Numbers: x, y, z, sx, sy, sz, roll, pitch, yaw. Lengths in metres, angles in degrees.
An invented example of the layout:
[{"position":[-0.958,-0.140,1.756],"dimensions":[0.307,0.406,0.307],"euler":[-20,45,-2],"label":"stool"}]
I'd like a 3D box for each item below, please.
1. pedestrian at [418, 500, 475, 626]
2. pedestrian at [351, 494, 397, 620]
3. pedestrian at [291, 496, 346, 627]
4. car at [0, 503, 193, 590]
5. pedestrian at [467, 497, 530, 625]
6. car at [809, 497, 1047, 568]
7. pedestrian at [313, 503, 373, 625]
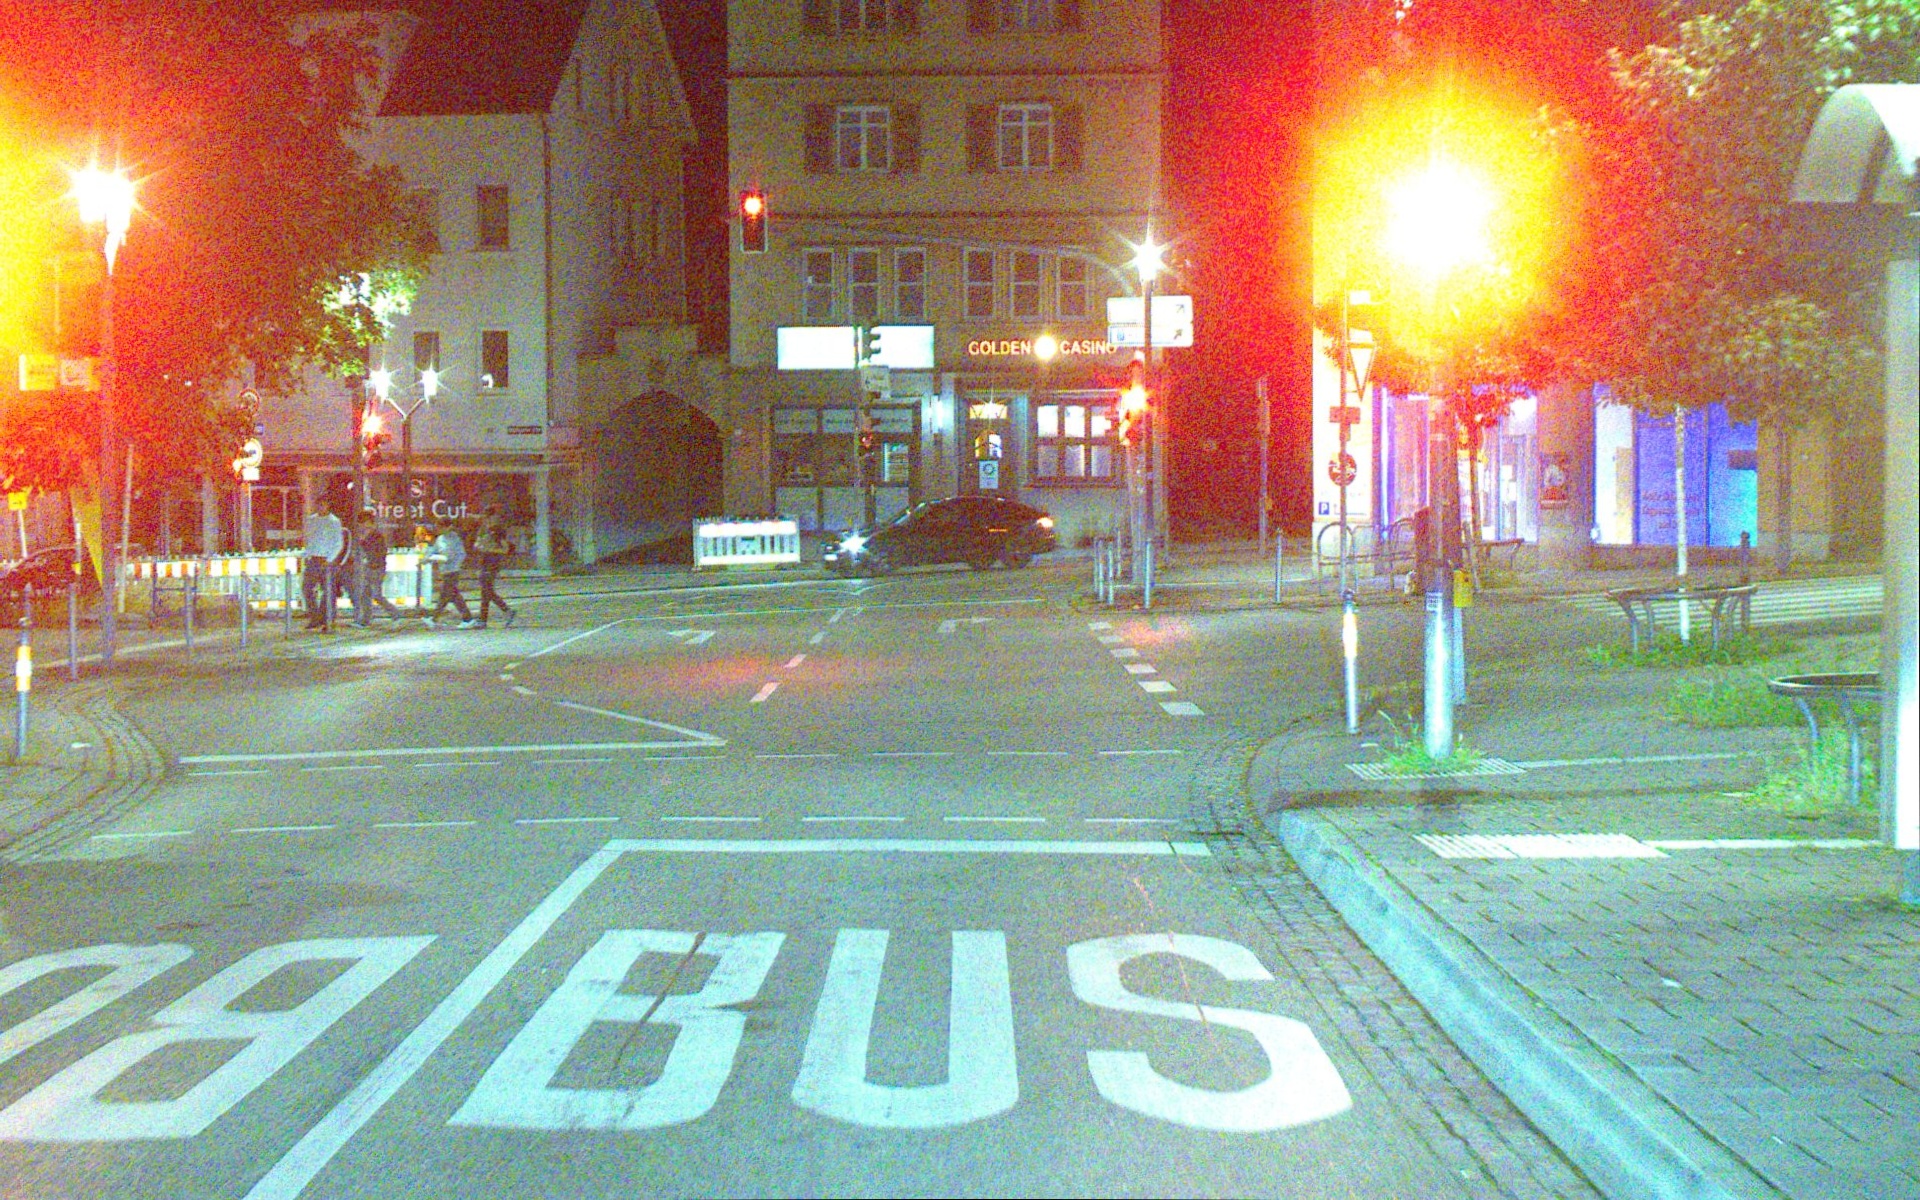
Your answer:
[{"position":[-7.369,-0.524,49.318],"dimensions":[0.567,1.789,0.718],"euler":[1,0,-29],"label":"pedestrian"},{"position":[-8.389,-0.608,49.231],"dimensions":[0.567,1.789,0.718],"euler":[1,0,-5],"label":"pedestrian"},{"position":[-8.839,-0.529,47.354],"dimensions":[0.715,1.789,0.569],"euler":[1,0,-11],"label":"pedestrian"},{"position":[-16.856,-1.024,65.930],"dimensions":[3.755,1.612,1.833],"euler":[1,0,19],"label":"car"},{"position":[-6.559,-0.548,48.849],"dimensions":[0.734,1.789,0.718],"euler":[1,0,-21],"label":"pedestrian"},{"position":[-0.621,-1.317,68.138],"dimensions":[4.417,1.293,1.641],"euler":[1,0,-25],"label":"car"},{"position":[-9.110,-0.532,50.766],"dimensions":[0.716,1.789,0.569],"euler":[1,0,7],"label":"pedestrian"}]
